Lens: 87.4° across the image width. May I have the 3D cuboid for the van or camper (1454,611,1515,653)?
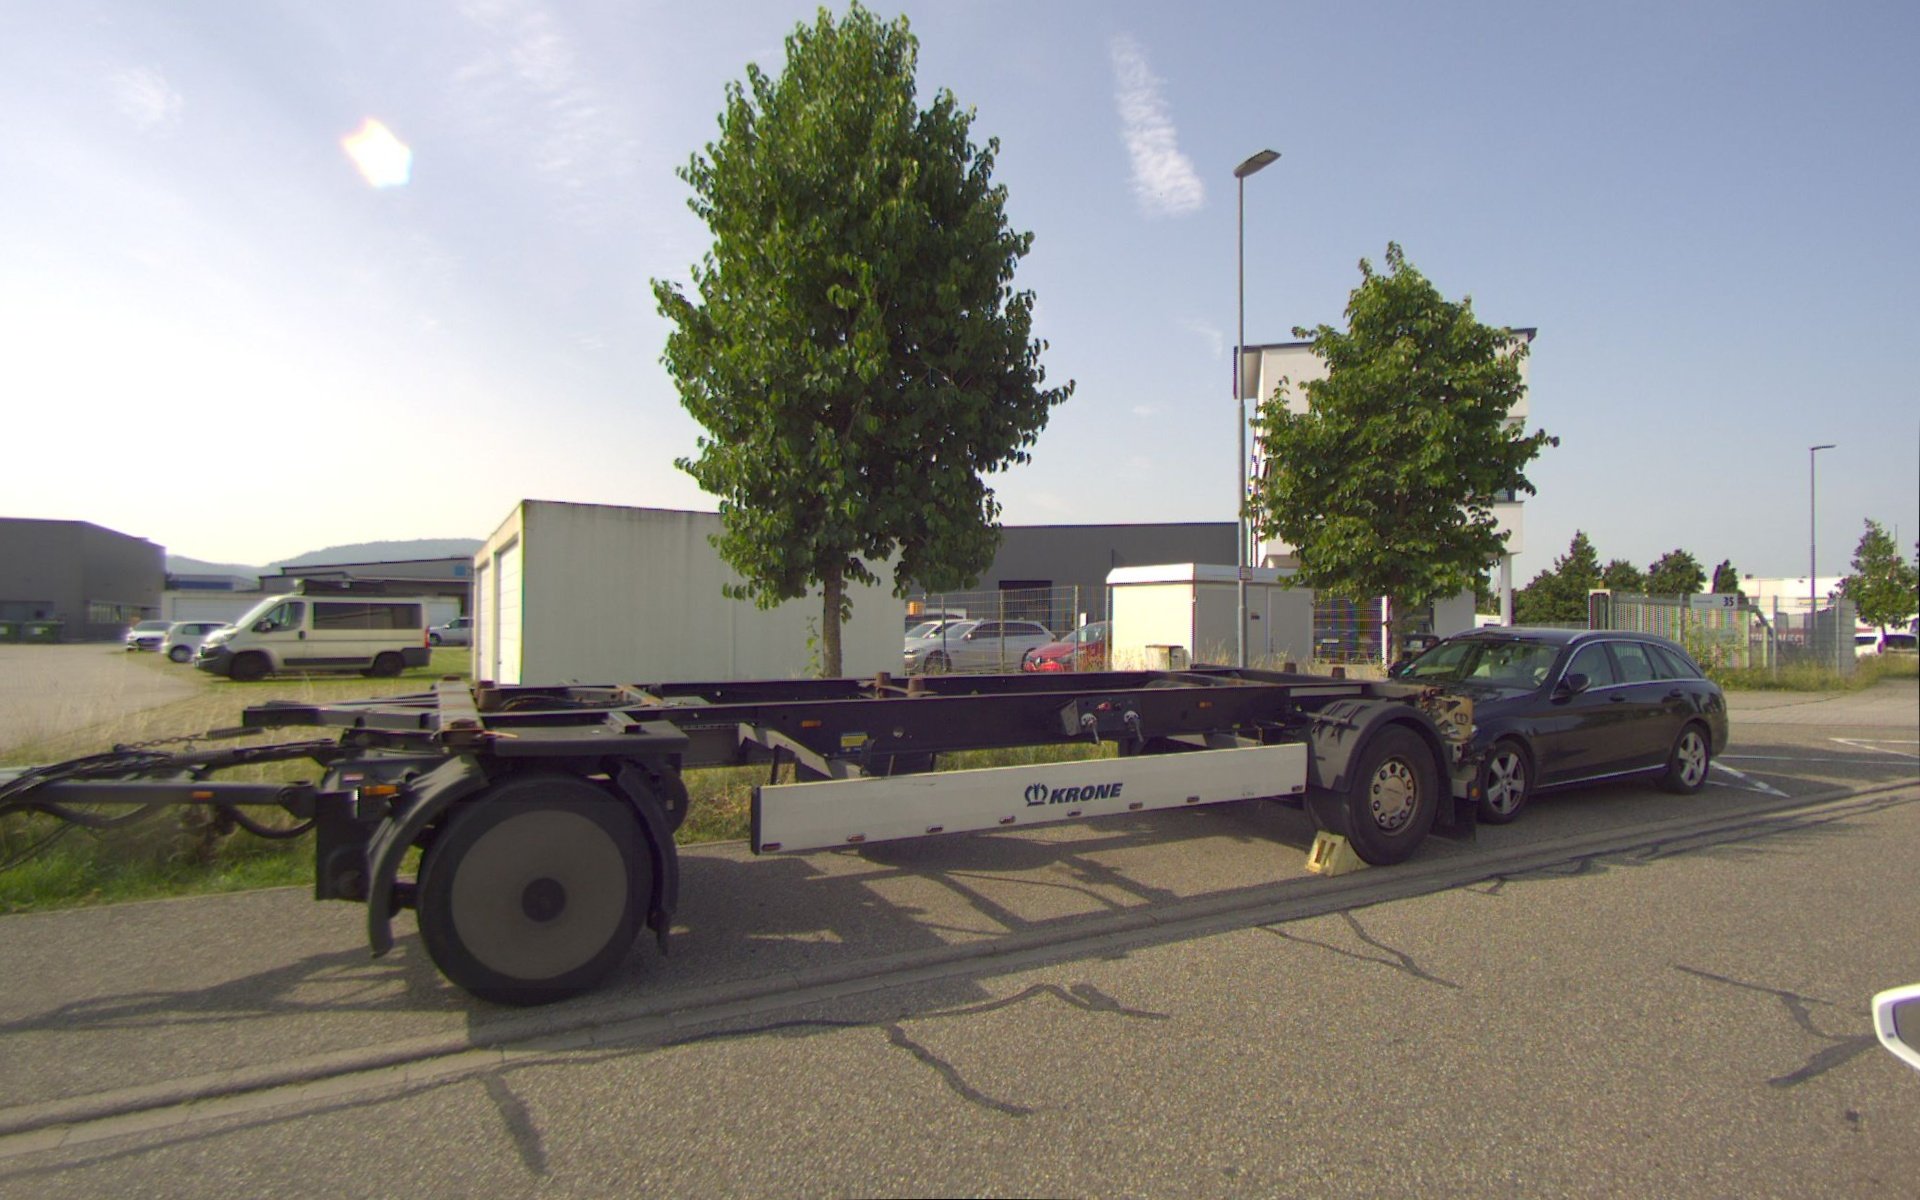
[{"bbox_3d":[34.214,2.085,65.699,2.266,2.594,4.957,0,-2,12],"label":"van or camper"}]

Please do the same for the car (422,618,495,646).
[{"bbox_3d":[-30.874,1.995,61.912,3.949,1.664,1.859,1,-1,-27],"label":"car"}]

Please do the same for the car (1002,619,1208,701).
[{"bbox_3d":[3.102,1.185,21.149,4.260,1.545,1.759,0,-1,-35],"label":"car"}]

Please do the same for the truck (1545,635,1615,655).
[{"bbox_3d":[44.781,3.231,72.759,2.481,1.282,6.530,0,-1,15],"label":"truck"}]

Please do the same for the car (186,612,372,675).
[{"bbox_3d":[-19.067,1.237,28.200,4.119,1.634,1.825,3,-3,-41],"label":"car"}]

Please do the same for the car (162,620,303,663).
[{"bbox_3d":[-27.032,1.555,37.394,4.119,1.500,1.561,3,-3,-41],"label":"car"}]

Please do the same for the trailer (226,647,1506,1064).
[{"bbox_3d":[0.111,0.992,6.060,7.069,1.249,2.121,1,0,-29],"label":"trailer"}]

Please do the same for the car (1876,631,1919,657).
[{"bbox_3d":[56.949,2.586,59.485,3.932,1.496,2.167,1,-1,-14],"label":"car"}]

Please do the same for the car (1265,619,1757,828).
[{"bbox_3d":[5.163,0.953,9.324,4.378,1.486,1.985,1,0,-29],"label":"car"}]

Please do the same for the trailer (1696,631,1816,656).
[{"bbox_3d":[51.887,2.811,65.877,2.579,1.406,9.460,-2,-2,15],"label":"trailer"}]

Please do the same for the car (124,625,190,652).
[{"bbox_3d":[-38.847,1.870,48.670,1.597,1.228,3.661,2,-2,-25],"label":"car"}]

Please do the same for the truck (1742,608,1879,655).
[{"bbox_3d":[77.424,2.792,91.704,2.431,4.025,9.236,1,-1,-31],"label":"truck"}]

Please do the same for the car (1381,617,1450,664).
[{"bbox_3d":[15.011,1.311,33.262,1.532,1.434,3.923,0,-1,16],"label":"car"}]

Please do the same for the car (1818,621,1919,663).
[{"bbox_3d":[44.490,2.017,49.110,1.959,1.924,4.470,0,-1,11],"label":"car"}]

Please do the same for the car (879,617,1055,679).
[{"bbox_3d":[0.228,1.230,26.859,4.425,1.514,1.824,0,-1,-31],"label":"car"}]

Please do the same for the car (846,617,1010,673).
[{"bbox_3d":[-0.913,1.251,29.180,4.425,1.514,1.926,0,-1,-31],"label":"car"}]

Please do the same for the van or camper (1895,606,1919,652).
[{"bbox_3d":[68.230,2.018,69.879,6.709,3.125,2.652,1,-1,-28],"label":"van or camper"}]

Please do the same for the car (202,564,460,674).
[{"bbox_3d":[-16.288,0.573,26.210,5.417,2.580,2.033,3,-3,-41],"label":"car"}]

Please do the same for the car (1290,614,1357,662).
[{"bbox_3d":[12.114,1.247,33.661,1.831,1.507,4.002,0,-1,16],"label":"car"}]
